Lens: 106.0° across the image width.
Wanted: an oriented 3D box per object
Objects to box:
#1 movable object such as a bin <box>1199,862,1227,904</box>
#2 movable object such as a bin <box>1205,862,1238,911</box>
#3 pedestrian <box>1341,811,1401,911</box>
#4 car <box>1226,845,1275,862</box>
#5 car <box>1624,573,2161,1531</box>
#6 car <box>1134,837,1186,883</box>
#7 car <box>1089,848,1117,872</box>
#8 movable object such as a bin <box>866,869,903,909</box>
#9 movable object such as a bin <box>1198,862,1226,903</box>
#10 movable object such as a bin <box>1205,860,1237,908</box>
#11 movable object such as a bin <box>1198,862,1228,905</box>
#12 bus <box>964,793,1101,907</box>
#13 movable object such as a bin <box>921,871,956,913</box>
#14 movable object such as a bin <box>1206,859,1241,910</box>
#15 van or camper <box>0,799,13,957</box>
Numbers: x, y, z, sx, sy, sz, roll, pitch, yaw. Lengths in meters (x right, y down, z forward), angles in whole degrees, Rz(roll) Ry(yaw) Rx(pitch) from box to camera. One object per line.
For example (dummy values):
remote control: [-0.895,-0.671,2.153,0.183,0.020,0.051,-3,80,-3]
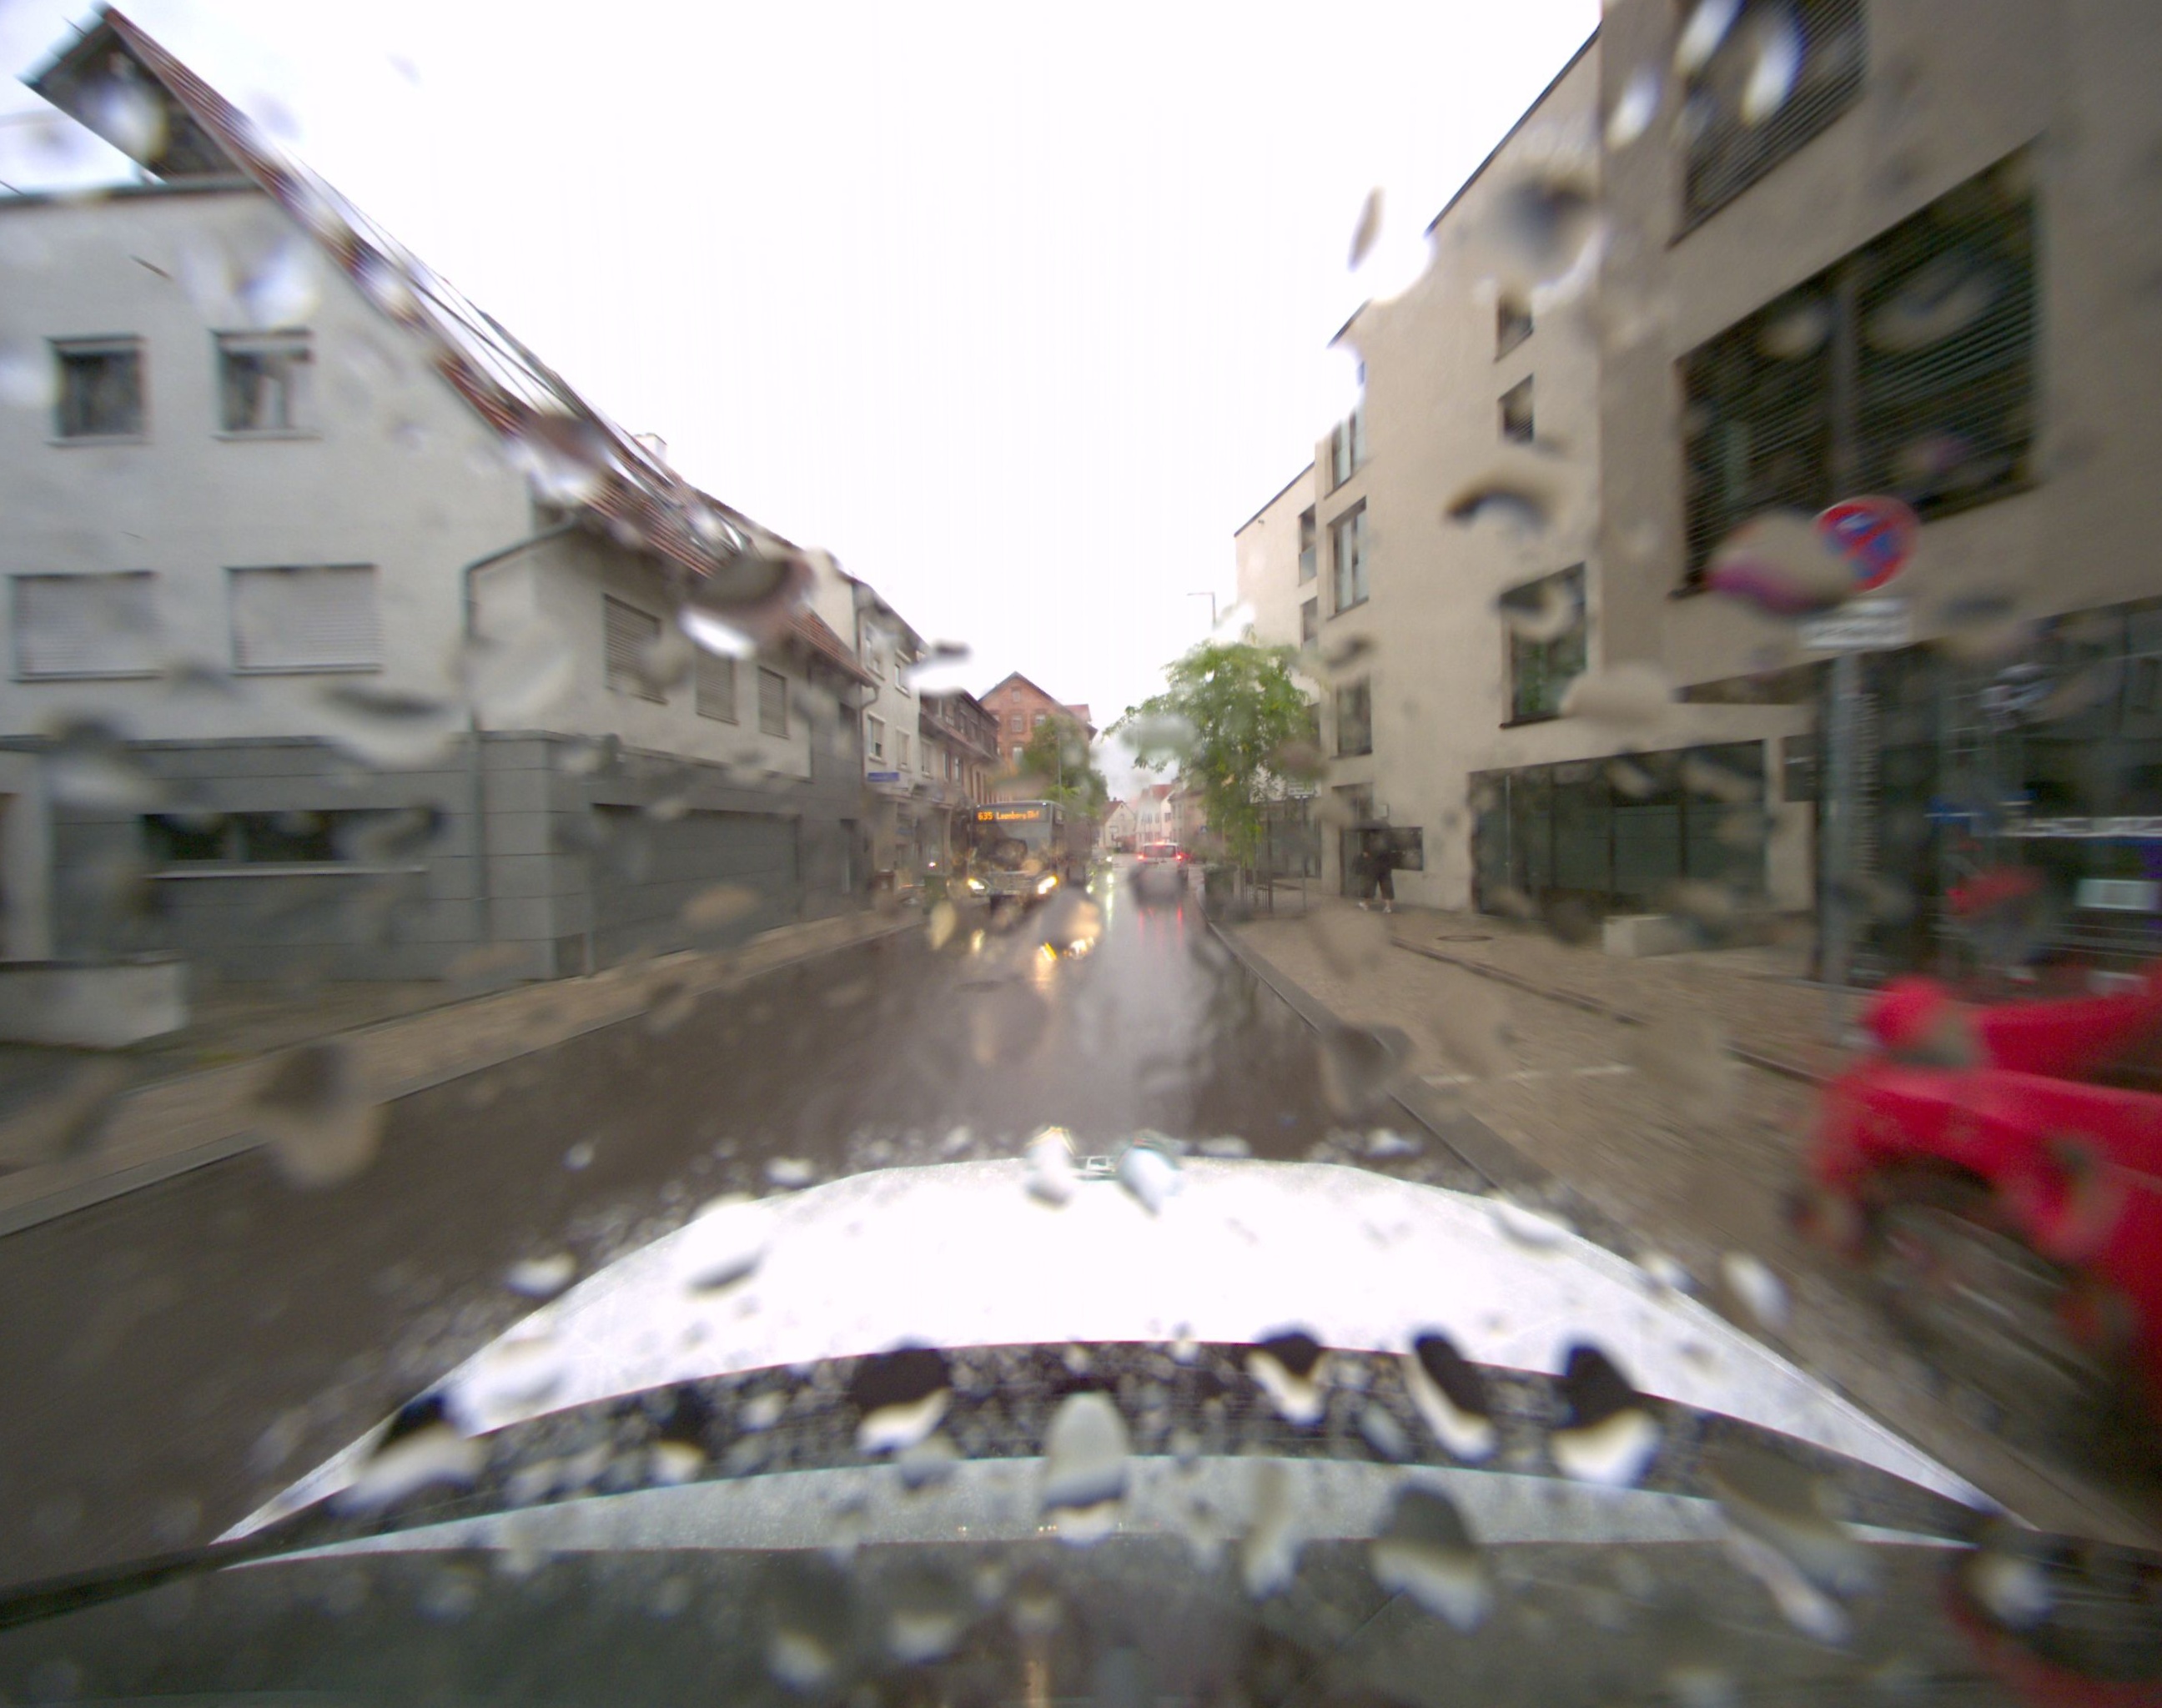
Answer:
movable object such as a bin: [3.612,0.781,22.301,0.720,1.118,0.578,-1,0,7]
movable object such as a bin: [3.458,0.802,20.103,0.747,1.171,0.632,-2,-1,10]
pedestrian: [6.037,0.152,17.002,0.864,2.014,1.083,0,-1,1]
car: [15.495,-0.076,74.434,3.985,1.486,1.994,0,-1,-9]
car: [3.007,0.359,0.894,1.828,1.907,4.607,-3,-1,3]
car: [3.596,0.279,36.211,2.141,1.898,4.935,-1,0,7]
car: [1.492,0.372,54.665,1.779,1.507,4.472,-1,1,2]
movable object such as a bin: [-5.358,0.958,22.250,0.789,1.059,0.702,0,0,2]
movable object such as a bin: [3.674,0.786,22.886,0.720,1.118,0.578,-1,0,7]
movable object such as a bin: [3.573,0.763,20.757,0.747,1.171,0.632,-2,-1,10]
movable object such as a bin: [3.518,0.777,21.693,0.757,1.118,0.625,-1,0,7]
bus: [-1.215,-0.154,27.763,2.709,3.079,10.967,-1,0,7]
movable object such as a bin: [-3.694,0.982,21.099,0.738,1.059,0.727,0,0,2]
movable object such as a bin: [3.360,0.716,19.215,0.747,1.171,0.632,-2,-1,10]
van or camper: [-9.843,0.415,4.579,5.005,1.933,2.001,4,0,2]
